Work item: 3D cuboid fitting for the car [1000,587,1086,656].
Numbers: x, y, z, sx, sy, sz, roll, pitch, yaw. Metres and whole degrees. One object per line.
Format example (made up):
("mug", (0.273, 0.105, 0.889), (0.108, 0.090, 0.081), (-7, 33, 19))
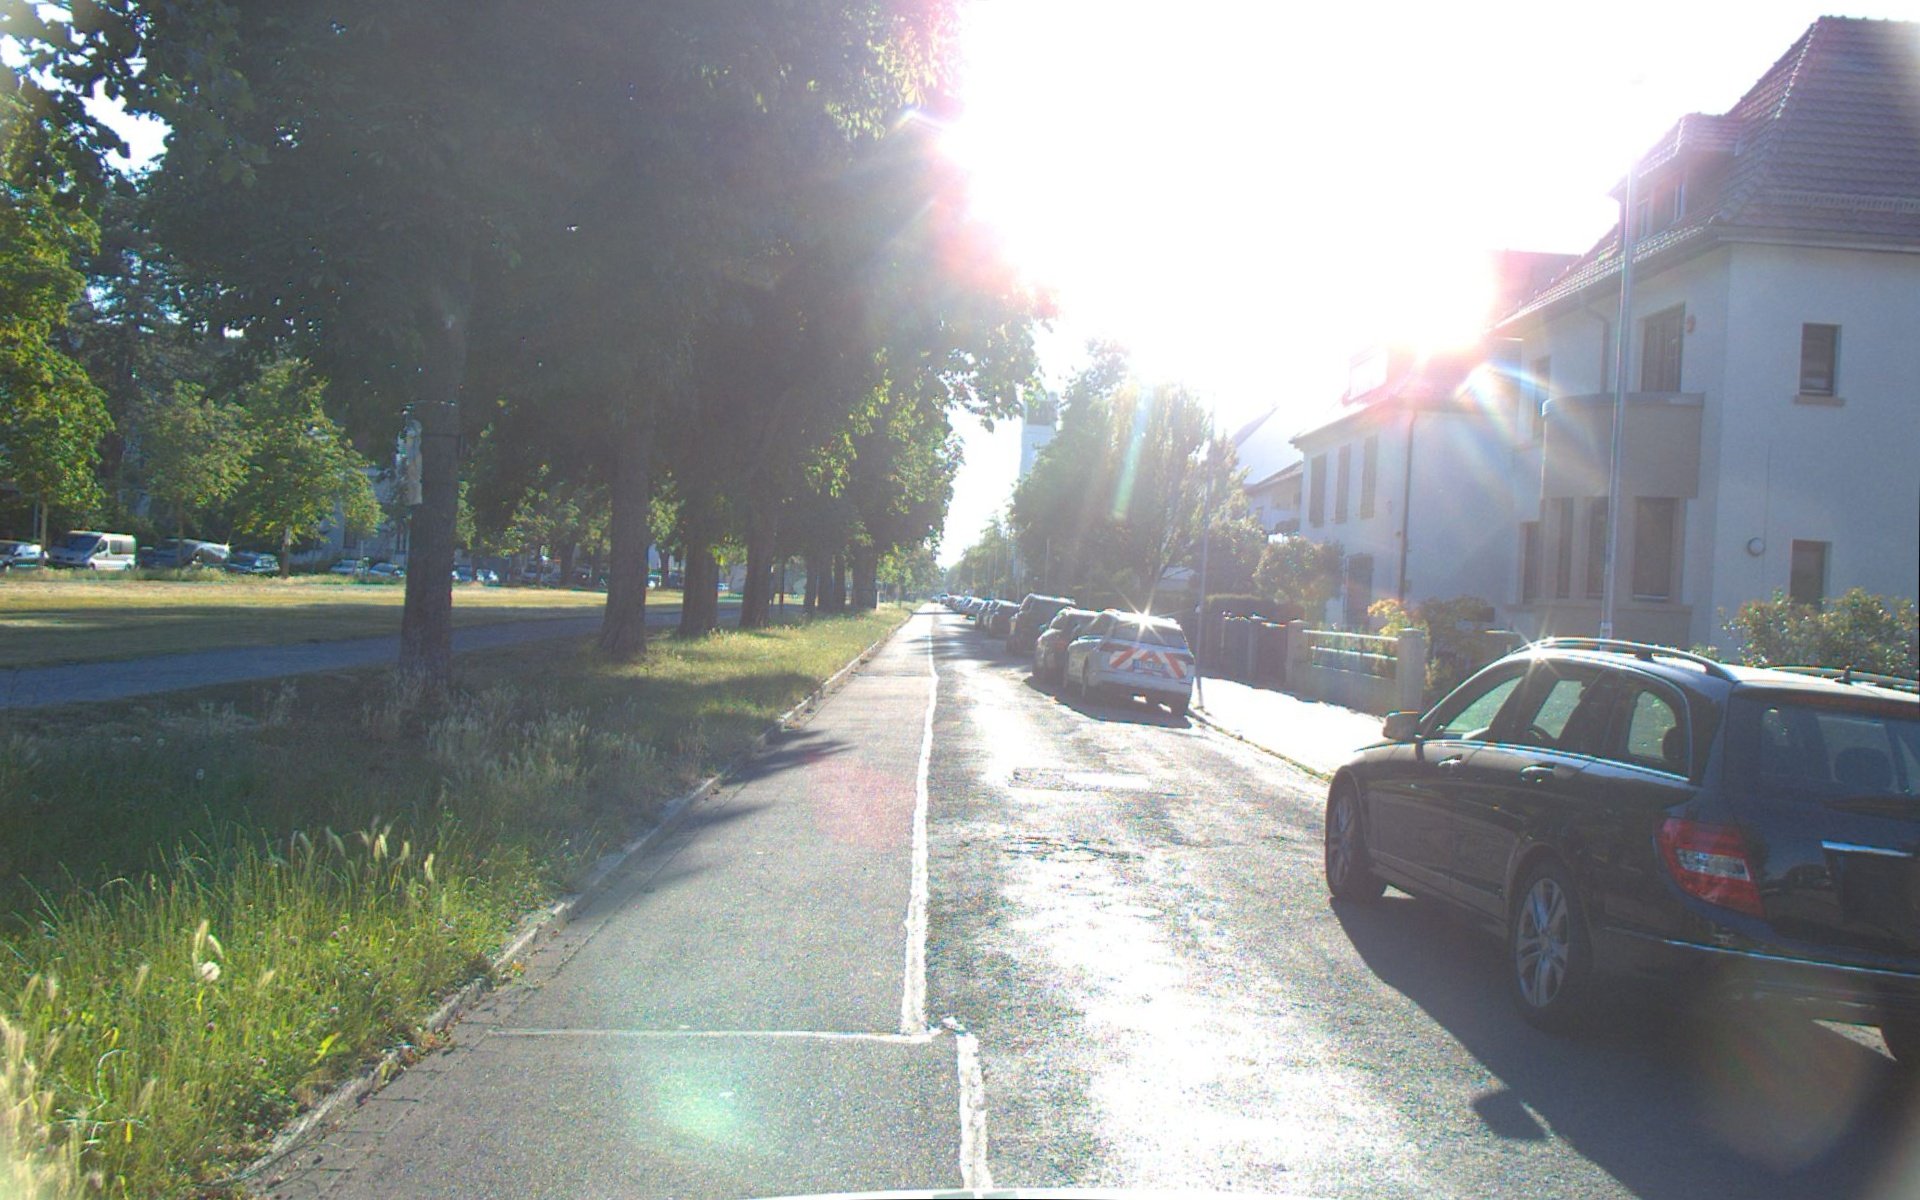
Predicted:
("car", (2.316, 0.568, 47.535), (1.954, 1.767, 4.862), (3, 0, -2))

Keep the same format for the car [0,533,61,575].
("car", (-40.135, -1.972, 70.038), (1.721, 1.651, 4.305), (3, 0, 0))

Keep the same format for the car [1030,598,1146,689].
("car", (2.501, 0.816, 33.343), (1.744, 1.488, 4.593), (6, 0, -1))

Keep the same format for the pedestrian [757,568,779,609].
("pedestrian", (-8.685, -0.524, 74.841), (0.709, 1.788, 0.994), (3, 1, 5))

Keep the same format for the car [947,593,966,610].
("car", (-0.375, 0.127, 163.538), (1.723, 1.633, 4.357), (3, 0, -2))

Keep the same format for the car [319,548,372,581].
("car", (-40.534, -2.302, 109.166), (1.990, 2.049, 4.000), (1, 0, 0))

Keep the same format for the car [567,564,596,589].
("car", (-35.703, -2.202, 156.155), (1.650, 2.213, 4.314), (3, 1, 0))

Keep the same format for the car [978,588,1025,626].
("car", (1.913, 0.297, 77.600), (1.659, 1.508, 3.925), (7, 0, -5))

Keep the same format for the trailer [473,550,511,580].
("trailer", (-41.087, -3.053, 145.380), (1.953, 2.470, 4.723), (3, 0, -1))

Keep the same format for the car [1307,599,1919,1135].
("car", (3.004, 0.864, 7.270), (1.744, 1.525, 4.395), (5, 0, -3))

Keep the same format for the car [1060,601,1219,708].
("car", (2.896, 0.836, 27.701), (1.954, 1.489, 4.548), (4, 0, -2))

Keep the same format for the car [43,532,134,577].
("car", (-39.781, -2.059, 75.620), (1.780, 1.869, 4.408), (3, 0, -1))

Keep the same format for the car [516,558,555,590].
("car", (-41.560, -2.490, 161.944), (2.388, 2.973, 5.817), (1, 0, -1))

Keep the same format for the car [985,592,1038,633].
("car", (2.047, 0.491, 66.871), (1.757, 1.518, 4.673), (4, 0, -2))

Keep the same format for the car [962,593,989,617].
("car", (1.120, 0.316, 119.890), (1.723, 1.443, 4.071), (9, 0, -1))

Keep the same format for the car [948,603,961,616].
("car", (-0.806, 1.401, 245.100), (1.940, 1.712, 4.000), (3, 0, 0))

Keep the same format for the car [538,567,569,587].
("car", (-35.803, -2.023, 145.783), (1.650, 1.587, 4.314), (3, 0, 0))

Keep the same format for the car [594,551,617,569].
("car", (-42.780, -4.812, 199.589), (1.953, 2.049, 4.483), (0, -1, -1))
